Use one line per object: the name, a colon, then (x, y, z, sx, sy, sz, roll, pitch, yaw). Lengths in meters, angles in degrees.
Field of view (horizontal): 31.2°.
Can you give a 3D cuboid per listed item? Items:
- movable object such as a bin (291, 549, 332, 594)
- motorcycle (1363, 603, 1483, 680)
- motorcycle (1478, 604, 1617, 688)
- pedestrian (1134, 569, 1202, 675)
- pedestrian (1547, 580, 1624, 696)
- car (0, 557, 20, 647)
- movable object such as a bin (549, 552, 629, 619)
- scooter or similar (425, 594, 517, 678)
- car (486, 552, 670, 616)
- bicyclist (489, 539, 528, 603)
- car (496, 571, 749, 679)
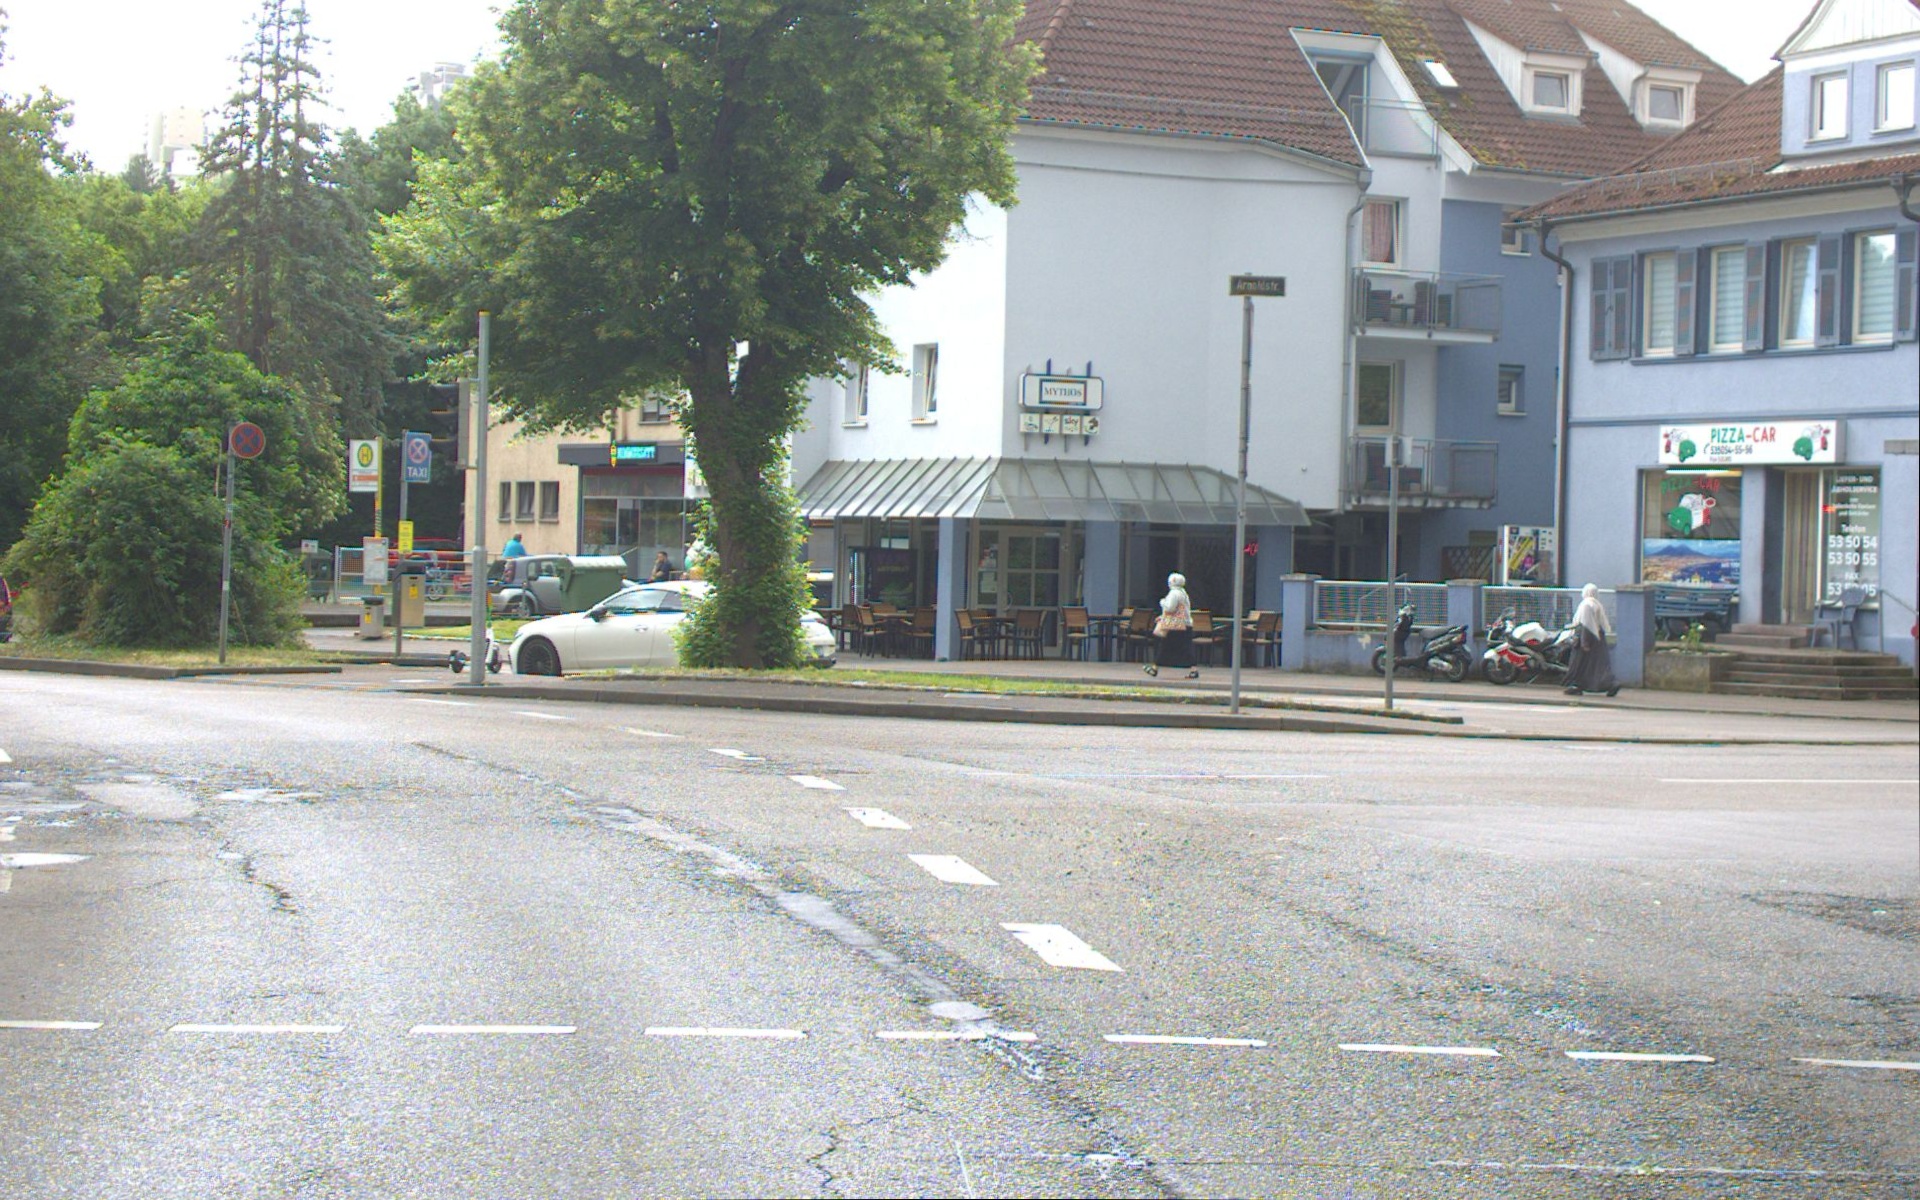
movable object such as a bin: (-16.249, -0.724, 86.165, 0.950, 1.111, 0.383, 1, 1, -21)
motorcycle: (6.751, 0.598, 50.158, 1.636, 1.060, 0.693, 2, 1, 44)
motorcycle: (8.257, 0.636, 48.379, 1.798, 1.118, 0.693, 2, 1, 38)
pedestrian: (3.073, 0.314, 50.788, 0.707, 1.539, 0.677, 2, 1, 40)
pedestrian: (8.482, 0.506, 46.642, 0.768, 1.539, 0.677, 1, 1, 39)
car: (-16.514, -0.009, 53.719, 3.590, 1.389, 1.469, 2, 1, 32)
movable object such as a bin: (-7.985, -0.318, 73.973, 1.440, 1.404, 0.967, 1, 1, -27)
scooter or similar: (-6.059, 0.434, 42.648, 0.417, 1.008, 1.565, 1, 1, 20)
car: (-8.427, -0.360, 75.870, 3.733, 1.340, 1.434, 1, 1, -26)
bicyclist: (-10.844, -0.693, 82.547, 0.599, 1.536, 0.739, 1, 1, 27)
car: (-4.531, 0.319, 46.041, 3.171, 1.350, 1.436, 2, 1, 35)
